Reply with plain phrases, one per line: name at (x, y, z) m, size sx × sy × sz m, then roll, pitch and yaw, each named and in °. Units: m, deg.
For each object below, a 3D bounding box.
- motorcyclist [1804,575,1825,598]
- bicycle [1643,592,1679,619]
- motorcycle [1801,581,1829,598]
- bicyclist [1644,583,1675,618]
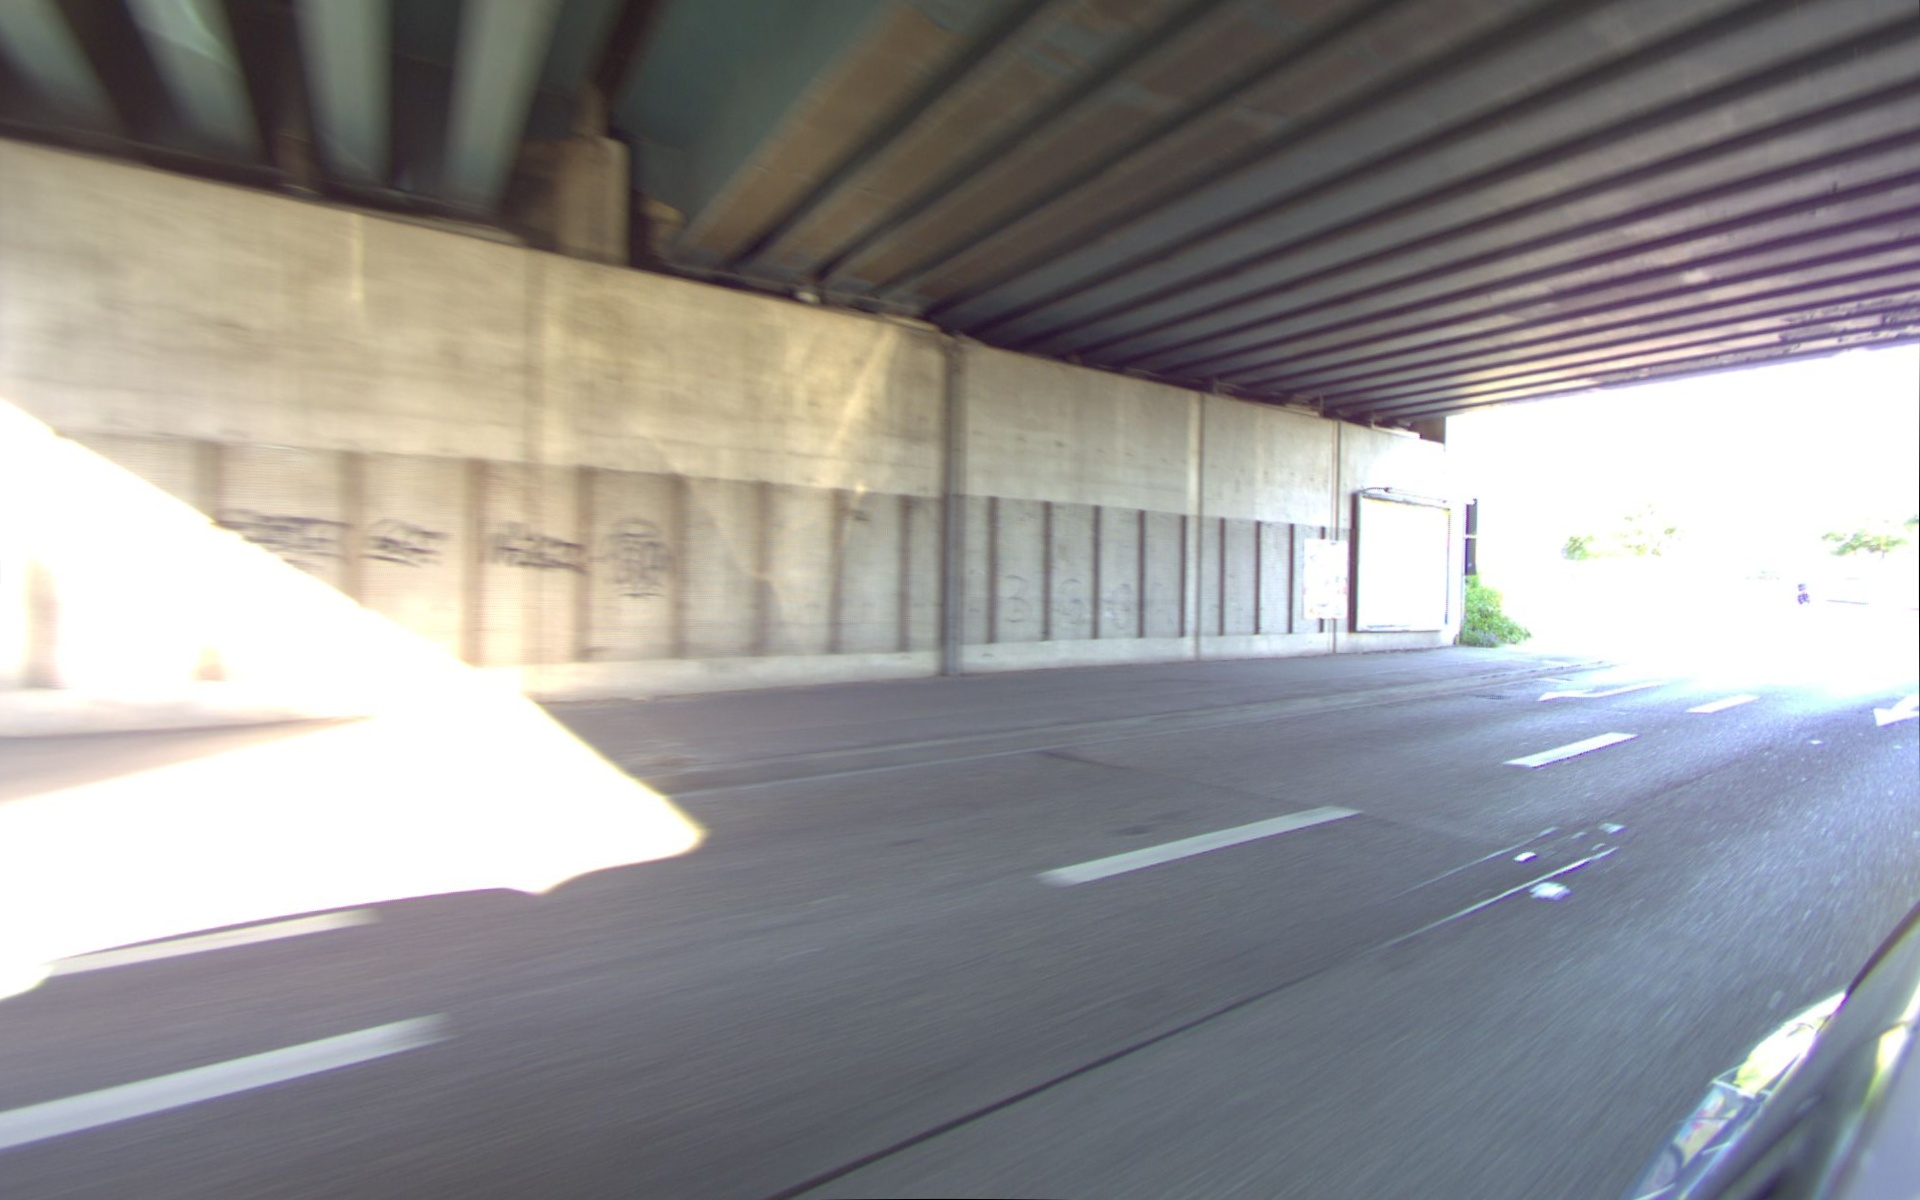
motorcyclist at (53.569, -0.841, 63.442) m, size 0.862 × 1.460 × 0.840 m, roll -1°, pitch 0°, yaw -37°
bicycle at (28.702, 0.208, 41.466) m, size 0.774 × 1.070 × 2.476 m, roll -1°, pitch 0°, yaw 24°
motorcycle at (53.605, -0.648, 63.450) m, size 2.310 × 1.059 × 0.811 m, roll -1°, pitch 0°, yaw -37°
bicyclist at (28.694, 0.021, 41.515) m, size 0.835 × 1.439 × 1.104 m, roll -1°, pitch 0°, yaw 25°
